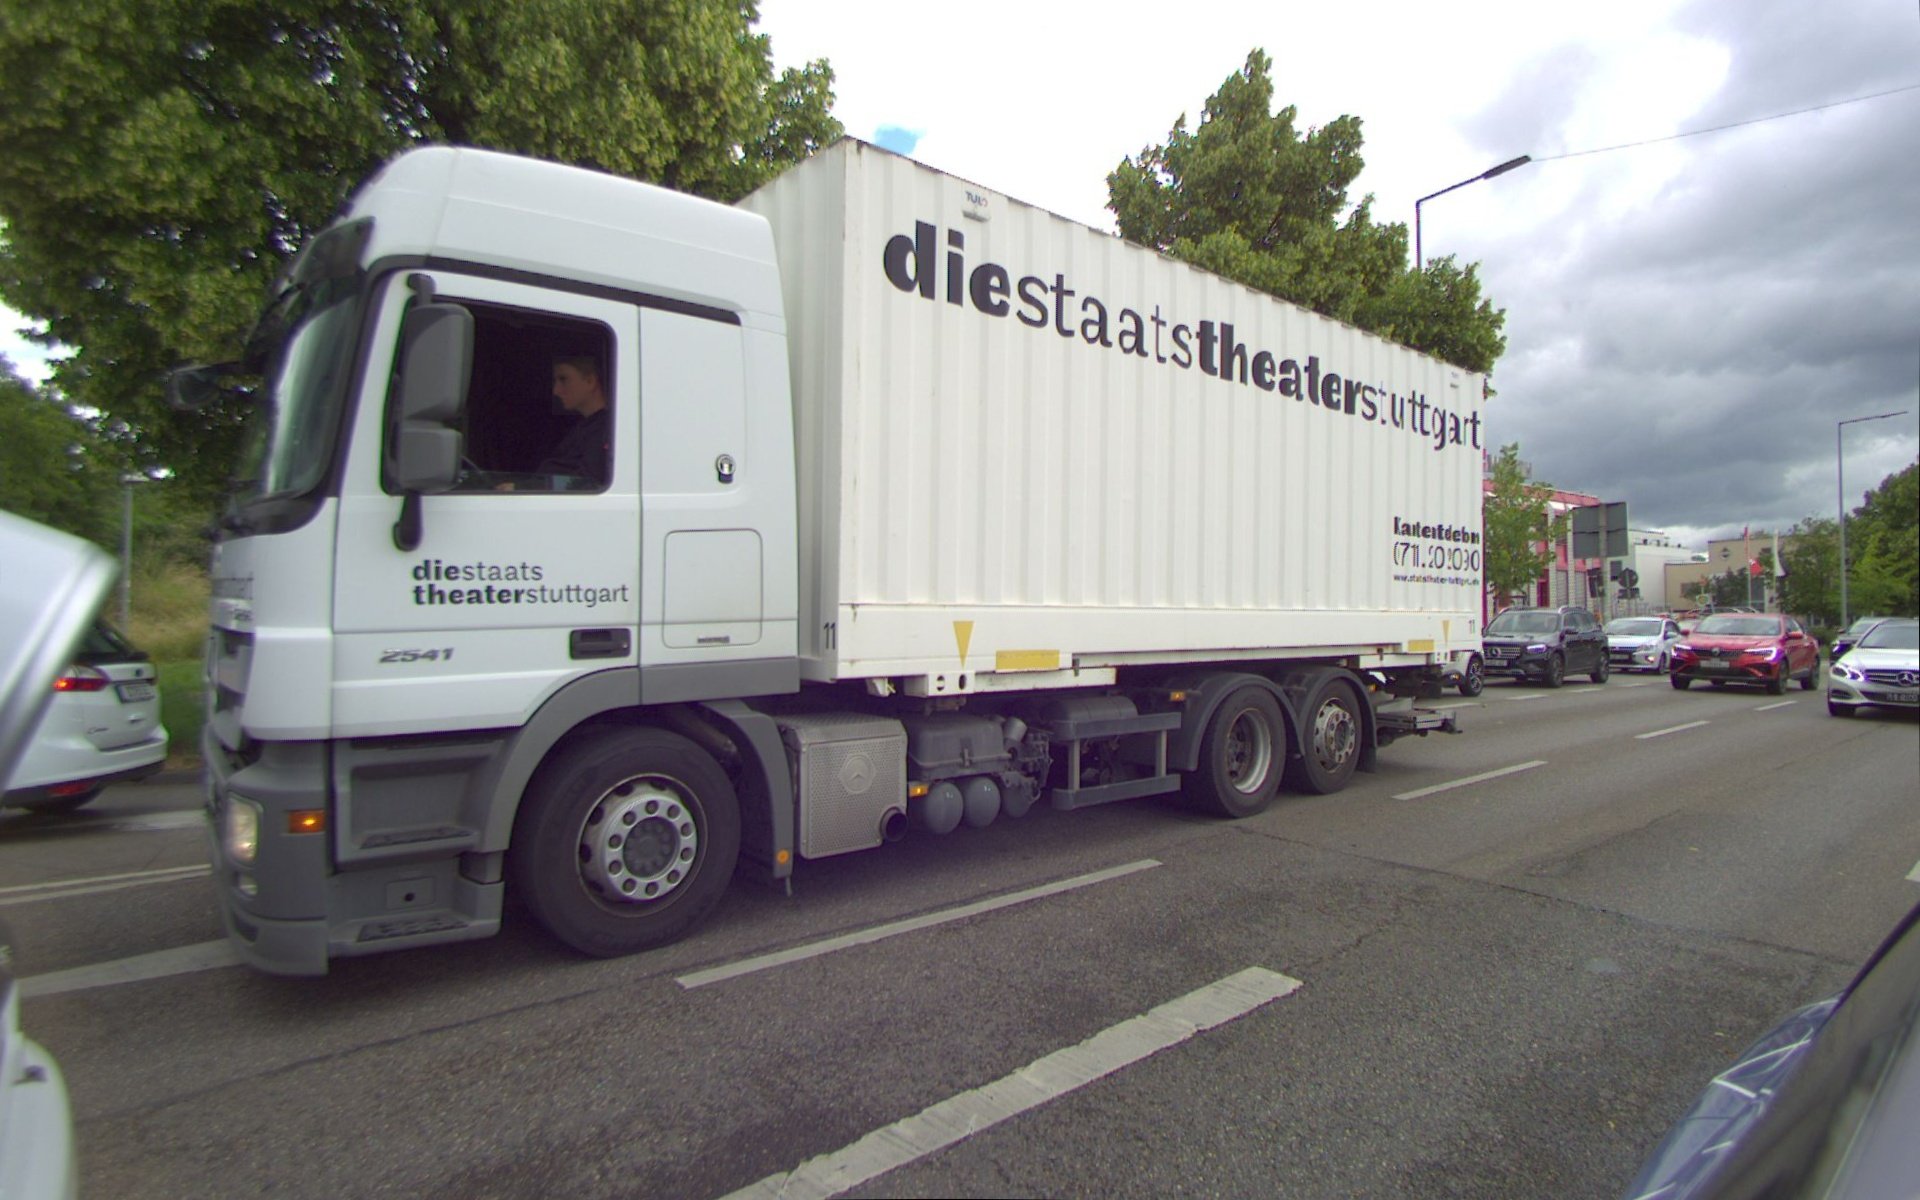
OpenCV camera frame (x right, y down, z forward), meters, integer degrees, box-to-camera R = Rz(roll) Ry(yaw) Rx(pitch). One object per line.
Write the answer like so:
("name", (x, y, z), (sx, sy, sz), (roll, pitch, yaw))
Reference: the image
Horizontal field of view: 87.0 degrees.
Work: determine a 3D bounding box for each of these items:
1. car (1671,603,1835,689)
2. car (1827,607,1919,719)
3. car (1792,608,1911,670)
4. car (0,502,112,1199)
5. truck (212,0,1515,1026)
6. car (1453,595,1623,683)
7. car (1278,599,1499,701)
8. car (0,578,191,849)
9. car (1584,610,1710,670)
("car", (16.118, 0.872, 20.493), (4.299, 1.549, 1.850), (1, -1, -41))
("car", (14.571, 0.856, 14.873), (4.236, 1.429, 1.805), (-1, 0, -35))
("car", (25.100, 1.034, 28.454), (4.142, 1.549, 1.798), (-1, 0, -38))
("car", (-2.837, 0.644, 0.667), (3.434, 1.525, 1.823), (1, 0, -42))
("truck", (0.695, -0.586, 7.627), (10.002, 3.953, 2.808), (0, 0, -41))
("car", (12.387, 0.811, 21.587), (4.133, 1.679, 1.863), (1, -3, -41))
("car", (7.402, 0.806, 17.328), (4.034, 1.536, 1.842), (0, -4, -41))
("car", (-7.865, 0.714, 6.519), (4.278, 1.676, 1.767), (0, -1, -20))
("car", (18.321, 1.012, 26.912), (4.293, 1.458, 1.761), (0, -1, -41))
